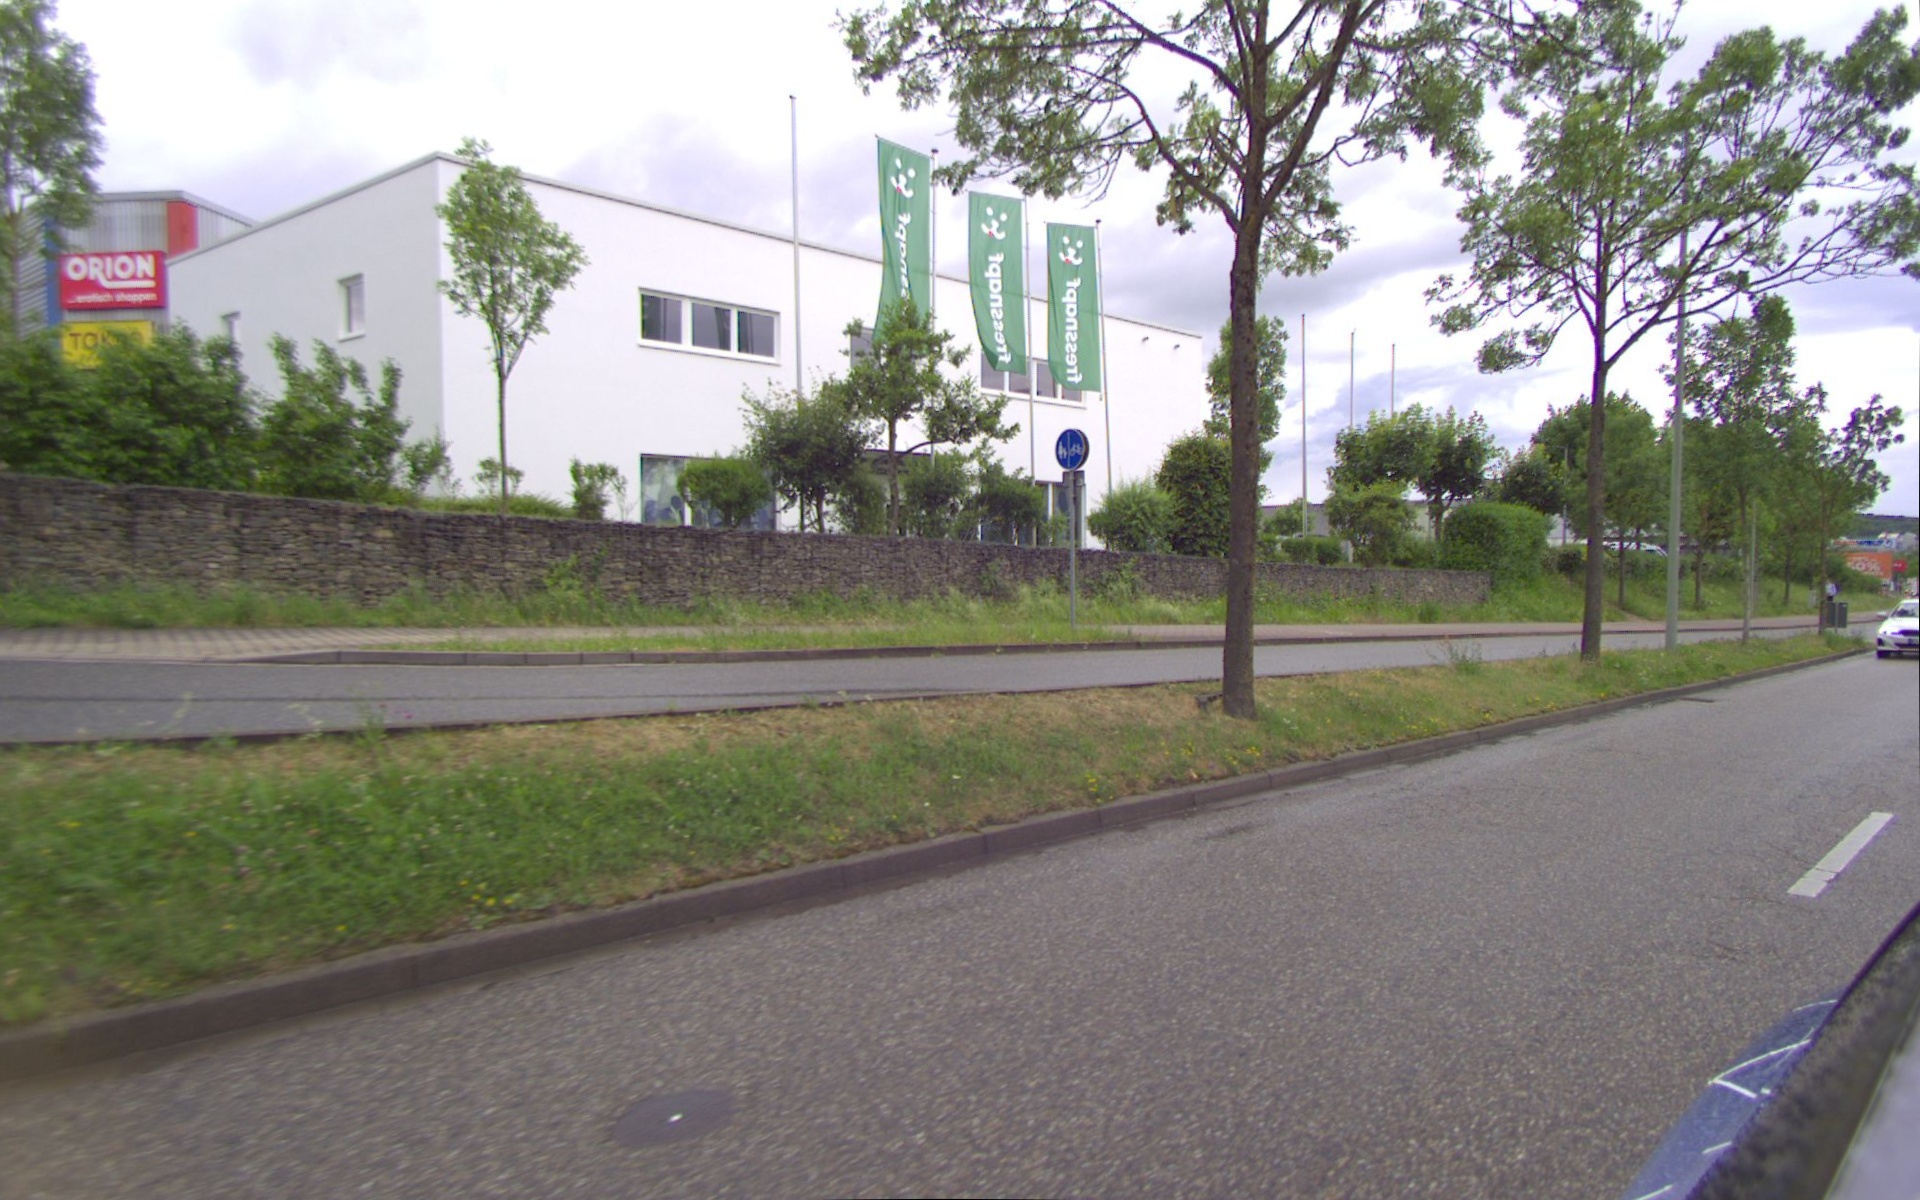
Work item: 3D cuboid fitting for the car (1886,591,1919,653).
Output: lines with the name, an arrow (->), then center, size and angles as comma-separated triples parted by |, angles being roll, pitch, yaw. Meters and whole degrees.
car -> 24.566, 0.502, 25.024 | 4.460, 1.458, 1.808 | 0, 0, -39

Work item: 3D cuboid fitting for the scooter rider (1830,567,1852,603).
scooter rider -> 46.265, -0.785, 53.153 | 0.843, 1.842, 0.696 | -1, 4, -42

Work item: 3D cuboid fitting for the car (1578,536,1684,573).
car -> 45.168, -3.106, 68.242 | 5.609, 2.167, 2.090 | 7, 5, 42

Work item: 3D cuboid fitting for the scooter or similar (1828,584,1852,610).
scooter or similar -> 46.239, -0.161, 53.175 | 1.377, 1.279, 0.696 | -1, 4, -42
